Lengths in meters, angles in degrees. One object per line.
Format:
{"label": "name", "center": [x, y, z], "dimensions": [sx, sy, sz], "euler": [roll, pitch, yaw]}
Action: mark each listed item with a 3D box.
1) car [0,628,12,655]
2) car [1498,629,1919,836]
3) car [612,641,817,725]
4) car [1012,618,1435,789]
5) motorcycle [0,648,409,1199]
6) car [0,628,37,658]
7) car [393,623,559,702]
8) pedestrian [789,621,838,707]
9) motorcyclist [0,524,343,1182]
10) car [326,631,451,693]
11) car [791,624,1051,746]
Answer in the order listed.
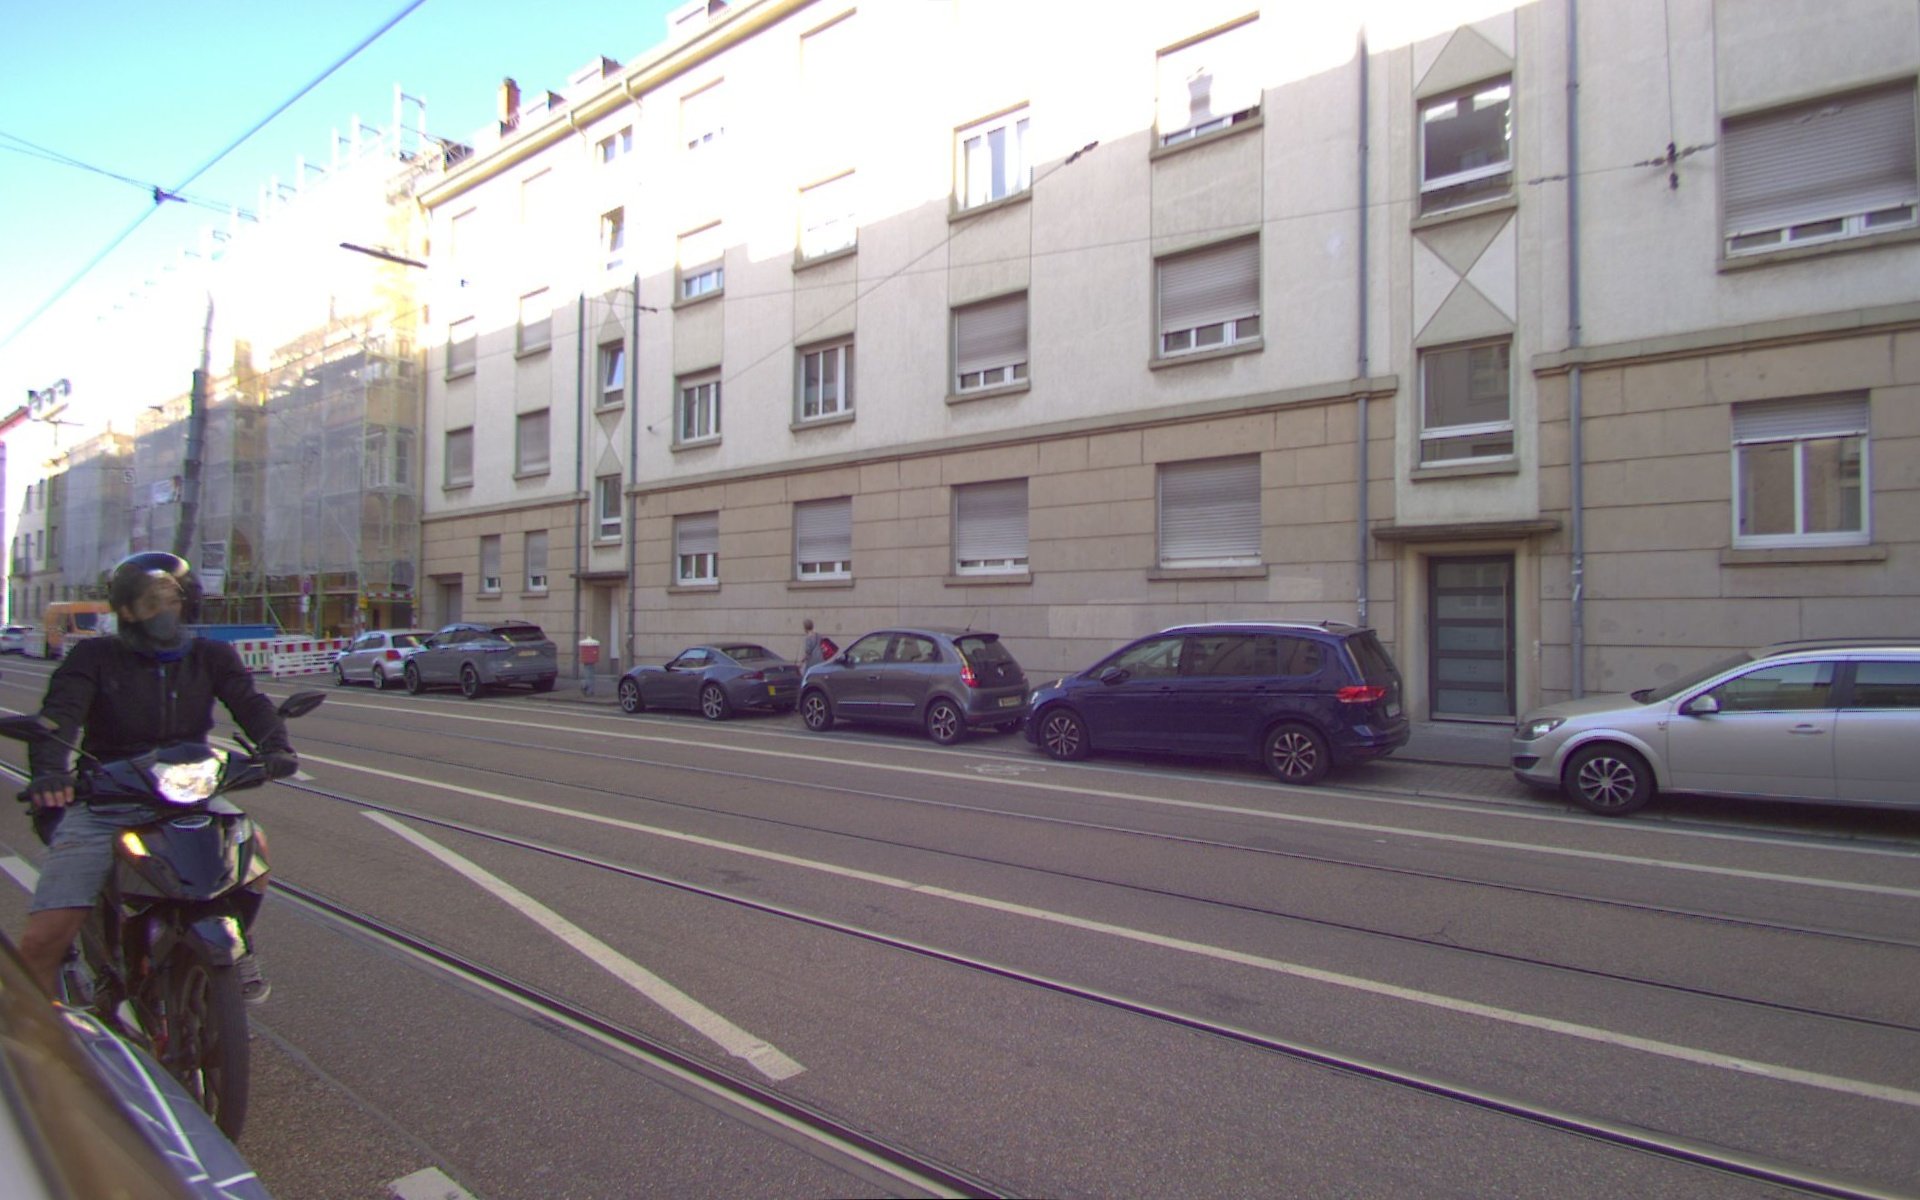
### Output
{"label": "car", "center": [-54.573, 2.328, 56.815], "dimensions": [3.964, 1.498, 1.662], "euler": [-2, -1, 42]}
{"label": "car", "center": [7.133, 1.004, 8.498], "dimensions": [4.383, 1.489, 1.779], "euler": [-1, -1, 38]}
{"label": "car", "center": [-4.307, 1.368, 17.497], "dimensions": [3.681, 1.244, 1.502], "euler": [-1, -1, 38]}
{"label": "car", "center": [2.900, 1.034, 11.672], "dimensions": [4.383, 1.611, 1.779], "euler": [-1, -1, 38]}
{"label": "motorcycle", "center": [-2.632, 0.820, 3.233], "dimensions": [2.272, 1.302, 0.781], "euler": [-2, -3, 41]}
{"label": "car", "center": [-50.057, 2.272, 53.338], "dimensions": [3.964, 1.498, 1.662], "euler": [-2, -1, 42]}
{"label": "car", "center": [-10.875, 1.336, 22.657], "dimensions": [4.201, 1.611, 1.675], "euler": [-1, -1, 38]}
{"label": "pedestrian", "center": [-2.717, 1.169, 18.764], "dimensions": [0.693, 1.553, 0.563], "euler": [-2, -3, 39]}
{"label": "motorcyclist", "center": [-2.535, 0.658, 3.156], "dimensions": [0.899, 1.668, 0.781], "euler": [-2, -3, 41]}
{"label": "car", "center": [-14.377, 1.500, 25.394], "dimensions": [3.506, 1.423, 1.524], "euler": [-1, -1, 38]}
{"label": "car", "center": [-0.621, 1.135, 14.651], "dimensions": [3.535, 1.539, 1.659], "euler": [-1, -1, 38]}
